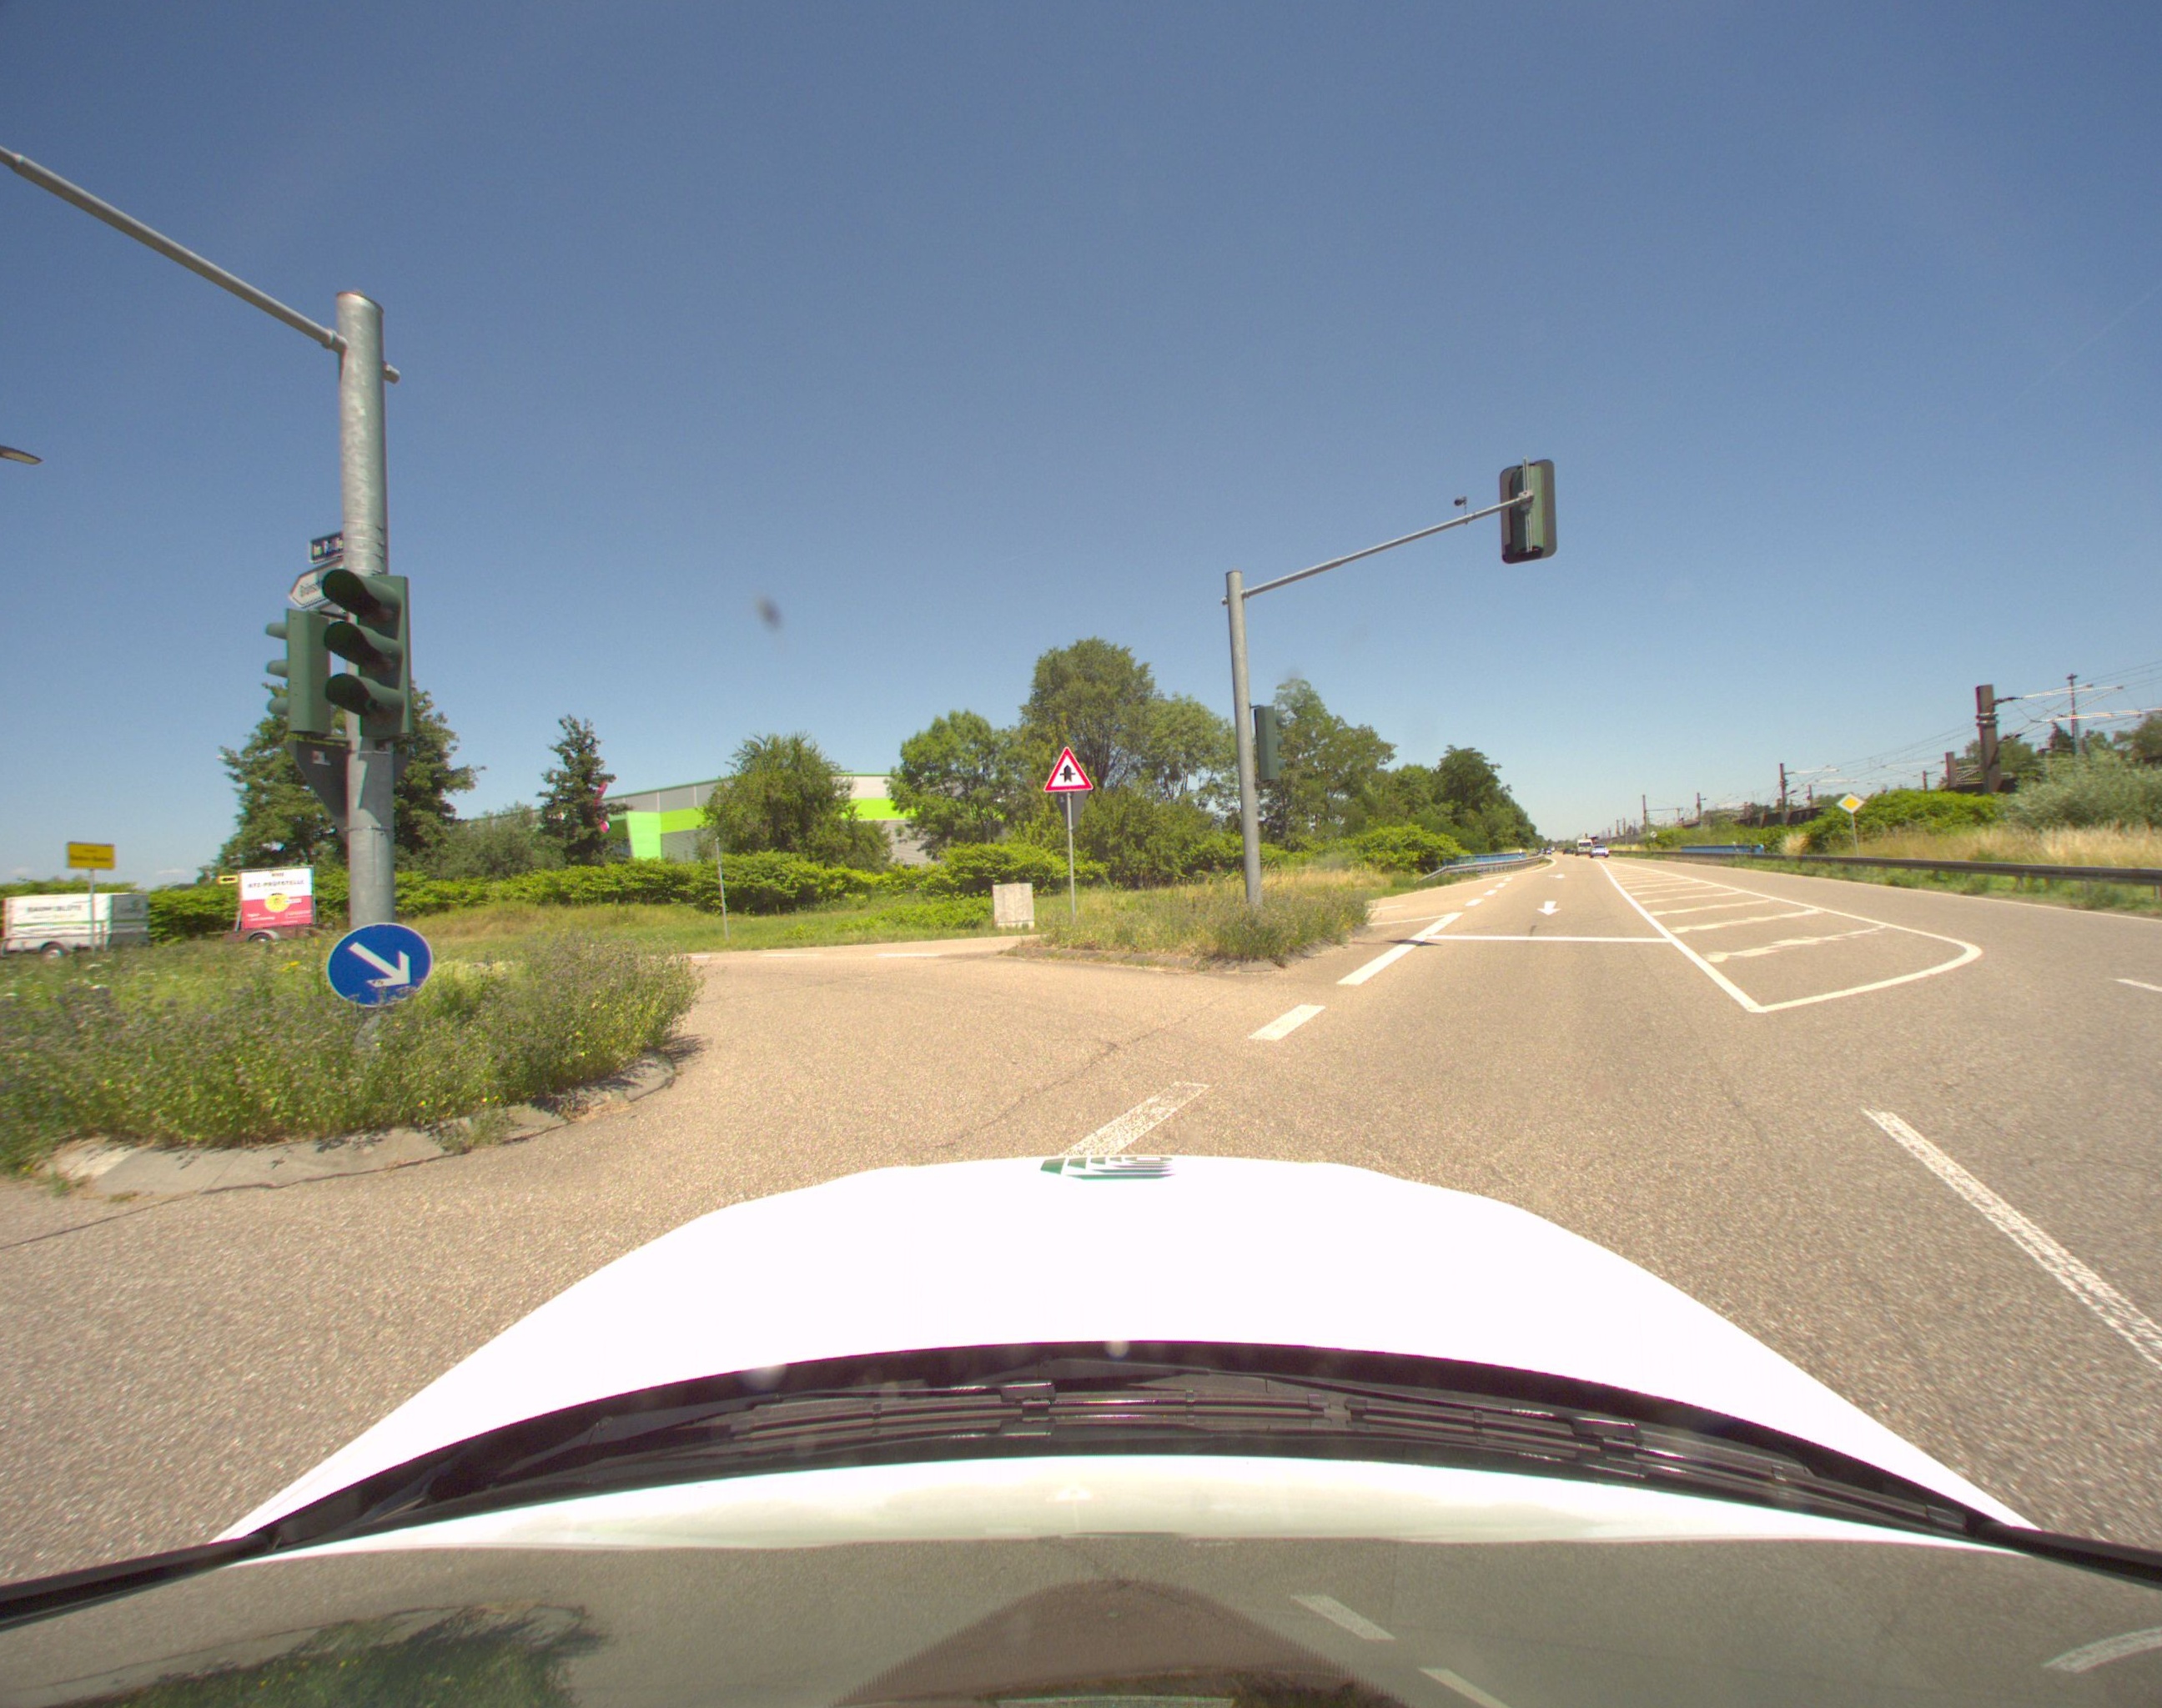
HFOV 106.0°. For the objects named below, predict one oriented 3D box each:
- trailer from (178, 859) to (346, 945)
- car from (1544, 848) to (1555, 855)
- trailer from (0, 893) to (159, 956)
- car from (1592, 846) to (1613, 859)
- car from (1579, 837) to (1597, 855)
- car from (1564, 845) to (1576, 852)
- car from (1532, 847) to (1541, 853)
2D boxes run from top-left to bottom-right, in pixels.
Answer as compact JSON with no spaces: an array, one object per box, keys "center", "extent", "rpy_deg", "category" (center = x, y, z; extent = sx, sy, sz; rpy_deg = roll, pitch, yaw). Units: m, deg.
[{"center":[-29.062,1.649,29.026],"extent":[3.753,2.764,1.817],"rpy_deg":[-2,-1,-16],"category":"trailer"},{"center":[94.437,-0.518,164.216],"extent":[1.839,1.379,4.531],"rpy_deg":[-2,0,30],"category":"car"},{"center":[-32.936,2.250,26.319],"extent":[3.752,1.791,1.817],"rpy_deg":[-2,-1,-15],"category":"trailer"},{"center":[62.592,-0.197,97.811],"extent":[1.800,1.564,4.305],"rpy_deg":[-2,-1,29],"category":"car"},{"center":[78.106,-1.290,125.501],"extent":[2.167,2.604,6.793],"rpy_deg":[-2,0,31],"category":"car"},{"center":[97.350,-1.096,162.219],"extent":[1.839,1.379,4.531],"rpy_deg":[-2,0,29],"category":"car"},{"center":[102.596,-0.871,183.436],"extent":[1.839,1.379,4.531],"rpy_deg":[-2,0,30],"category":"car"}]
